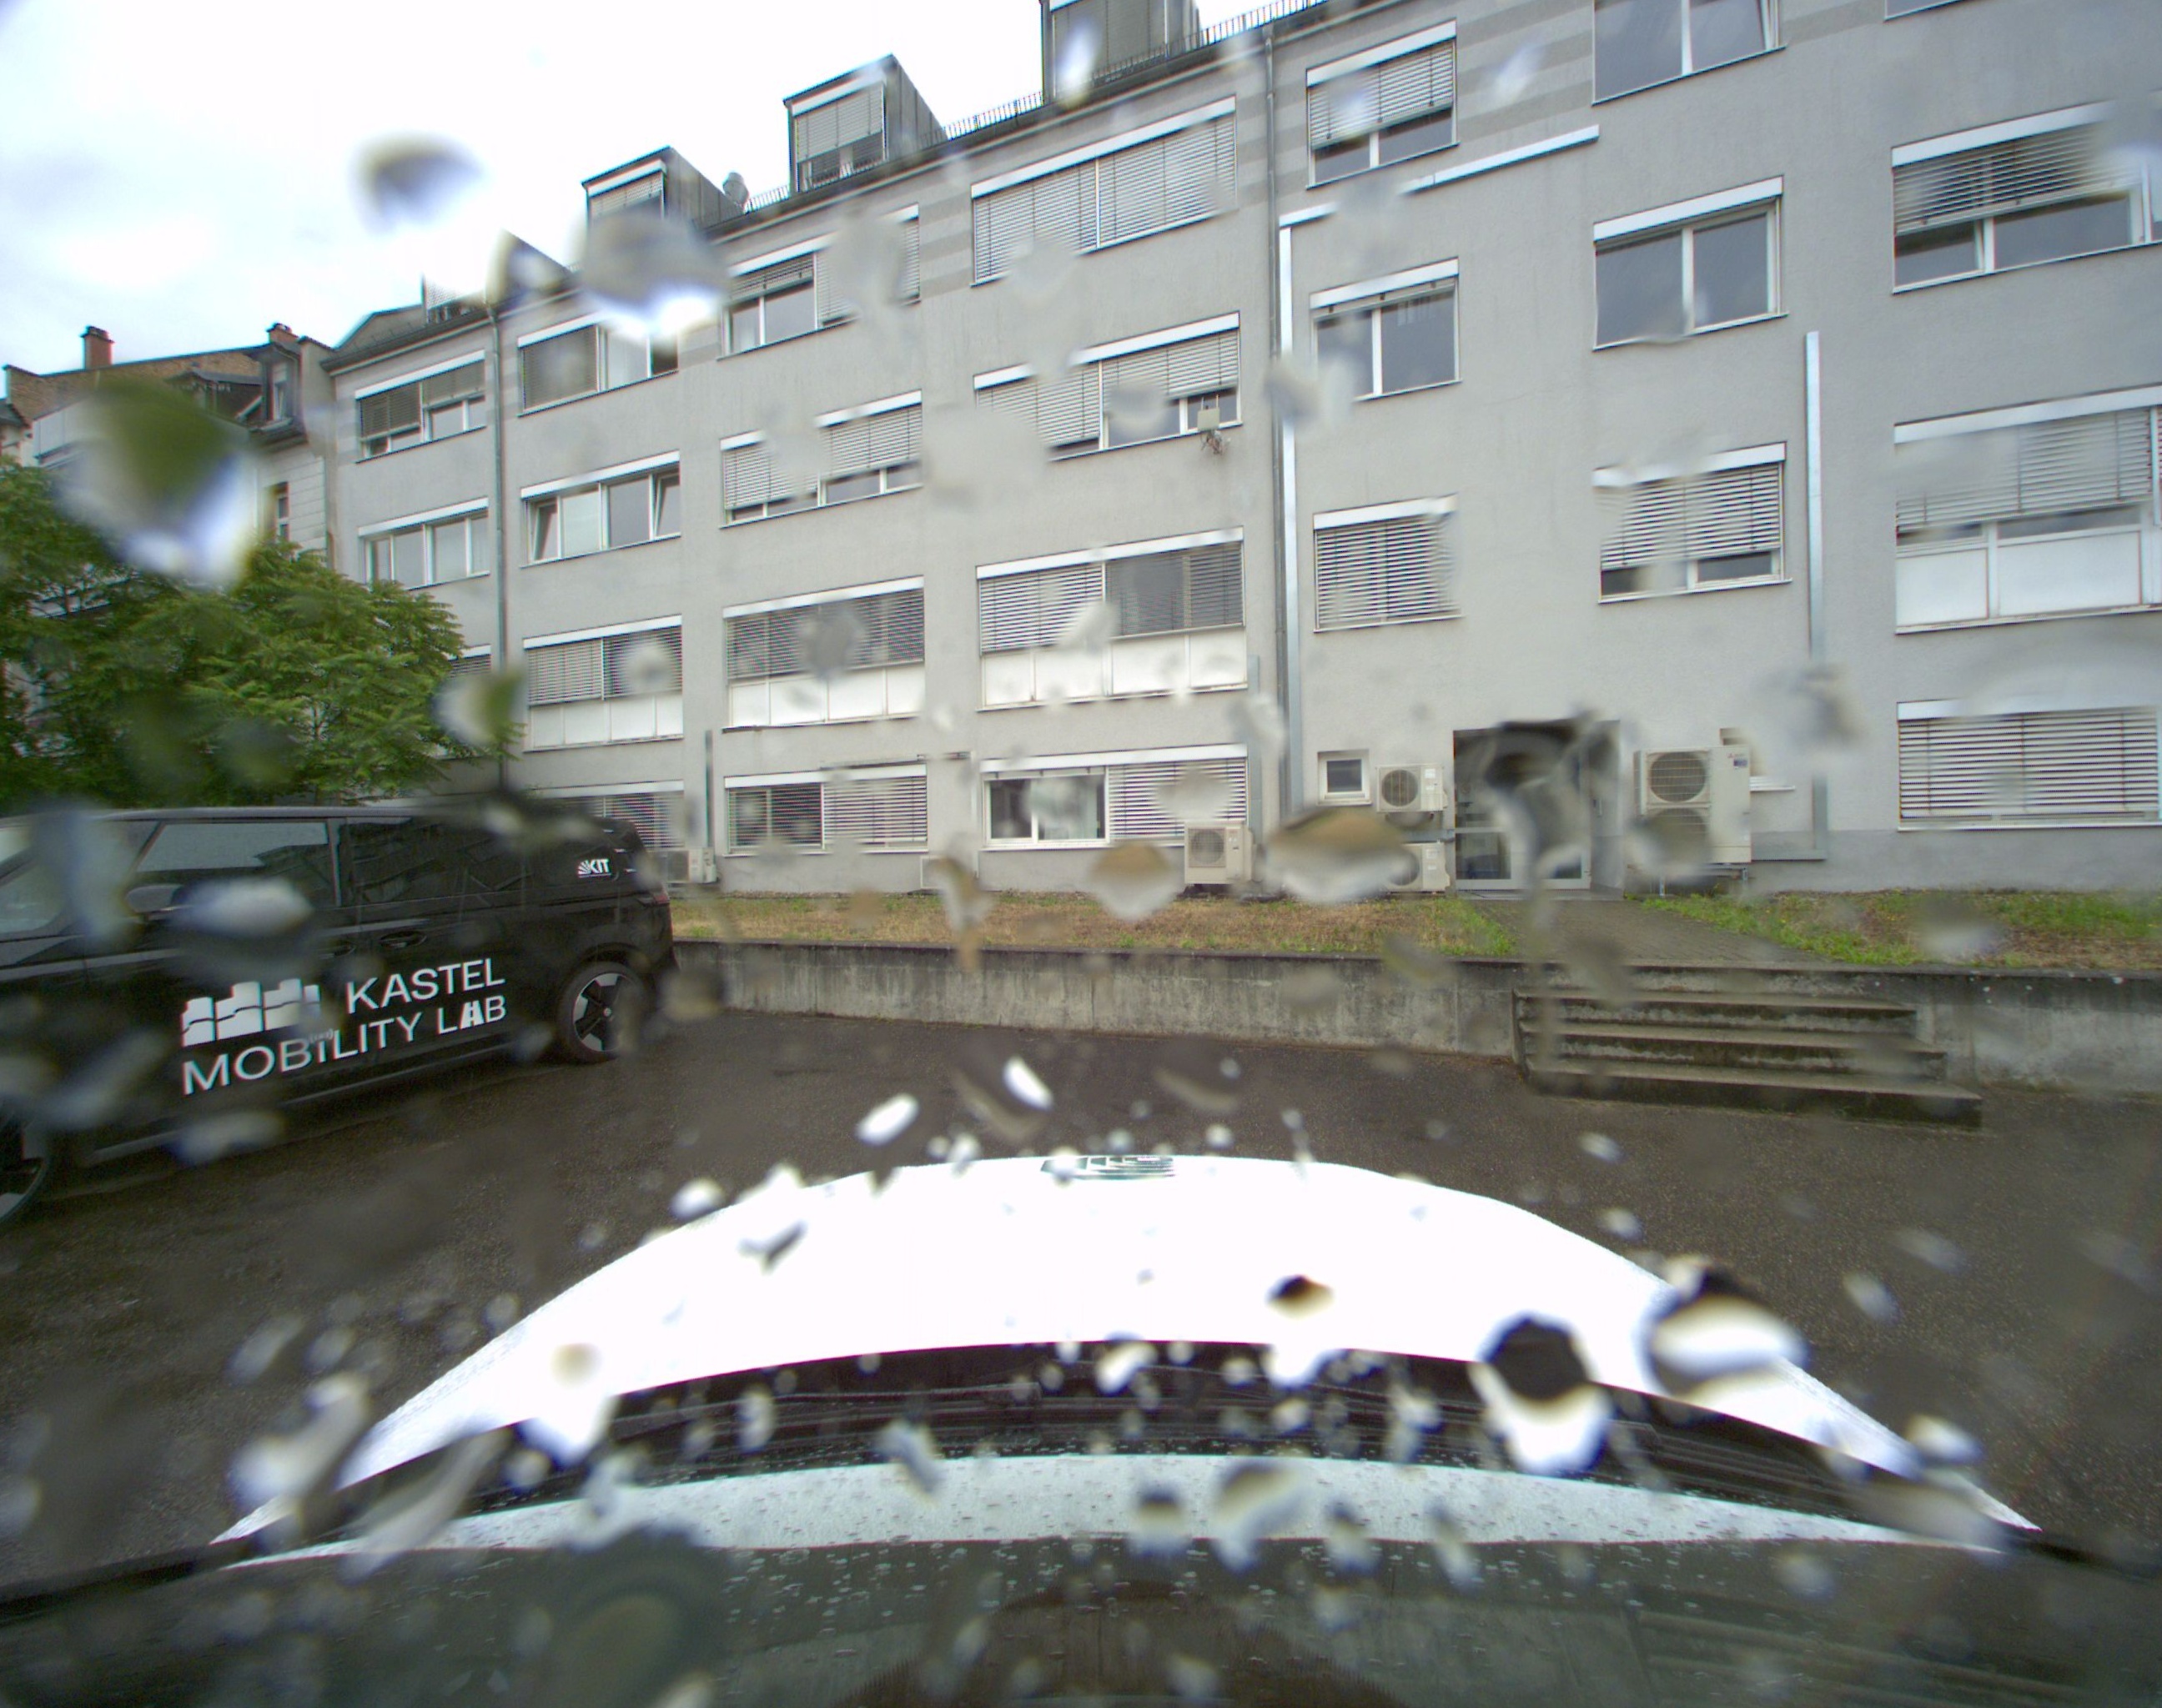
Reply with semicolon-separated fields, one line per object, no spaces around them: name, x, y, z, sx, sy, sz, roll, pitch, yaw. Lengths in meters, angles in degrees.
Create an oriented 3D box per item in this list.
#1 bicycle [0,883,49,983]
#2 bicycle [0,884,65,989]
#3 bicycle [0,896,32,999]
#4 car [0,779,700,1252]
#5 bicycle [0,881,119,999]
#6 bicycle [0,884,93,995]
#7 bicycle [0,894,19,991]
bicycle;-14.401;1.039;9.242;0.623;1.241;3.243;-2;0;24
bicycle;-13.823;1.035;8.949;0.623;1.241;3.243;-2;0;24
bicycle;-12.548;1.049;8.193;0.625;1.104;2.349;-1;1;26
car;-4.872;0.656;4.878;2.023;1.897;4.545;-2;0;19
bicycle;-12.438;0.985;8.352;0.623;1.241;3.243;-2;0;24
bicycle;-13.183;1.035;8.713;0.623;1.241;3.243;-2;0;24
bicycle;-13.244;1.054;8.617;0.625;1.104;2.349;-1;1;26
